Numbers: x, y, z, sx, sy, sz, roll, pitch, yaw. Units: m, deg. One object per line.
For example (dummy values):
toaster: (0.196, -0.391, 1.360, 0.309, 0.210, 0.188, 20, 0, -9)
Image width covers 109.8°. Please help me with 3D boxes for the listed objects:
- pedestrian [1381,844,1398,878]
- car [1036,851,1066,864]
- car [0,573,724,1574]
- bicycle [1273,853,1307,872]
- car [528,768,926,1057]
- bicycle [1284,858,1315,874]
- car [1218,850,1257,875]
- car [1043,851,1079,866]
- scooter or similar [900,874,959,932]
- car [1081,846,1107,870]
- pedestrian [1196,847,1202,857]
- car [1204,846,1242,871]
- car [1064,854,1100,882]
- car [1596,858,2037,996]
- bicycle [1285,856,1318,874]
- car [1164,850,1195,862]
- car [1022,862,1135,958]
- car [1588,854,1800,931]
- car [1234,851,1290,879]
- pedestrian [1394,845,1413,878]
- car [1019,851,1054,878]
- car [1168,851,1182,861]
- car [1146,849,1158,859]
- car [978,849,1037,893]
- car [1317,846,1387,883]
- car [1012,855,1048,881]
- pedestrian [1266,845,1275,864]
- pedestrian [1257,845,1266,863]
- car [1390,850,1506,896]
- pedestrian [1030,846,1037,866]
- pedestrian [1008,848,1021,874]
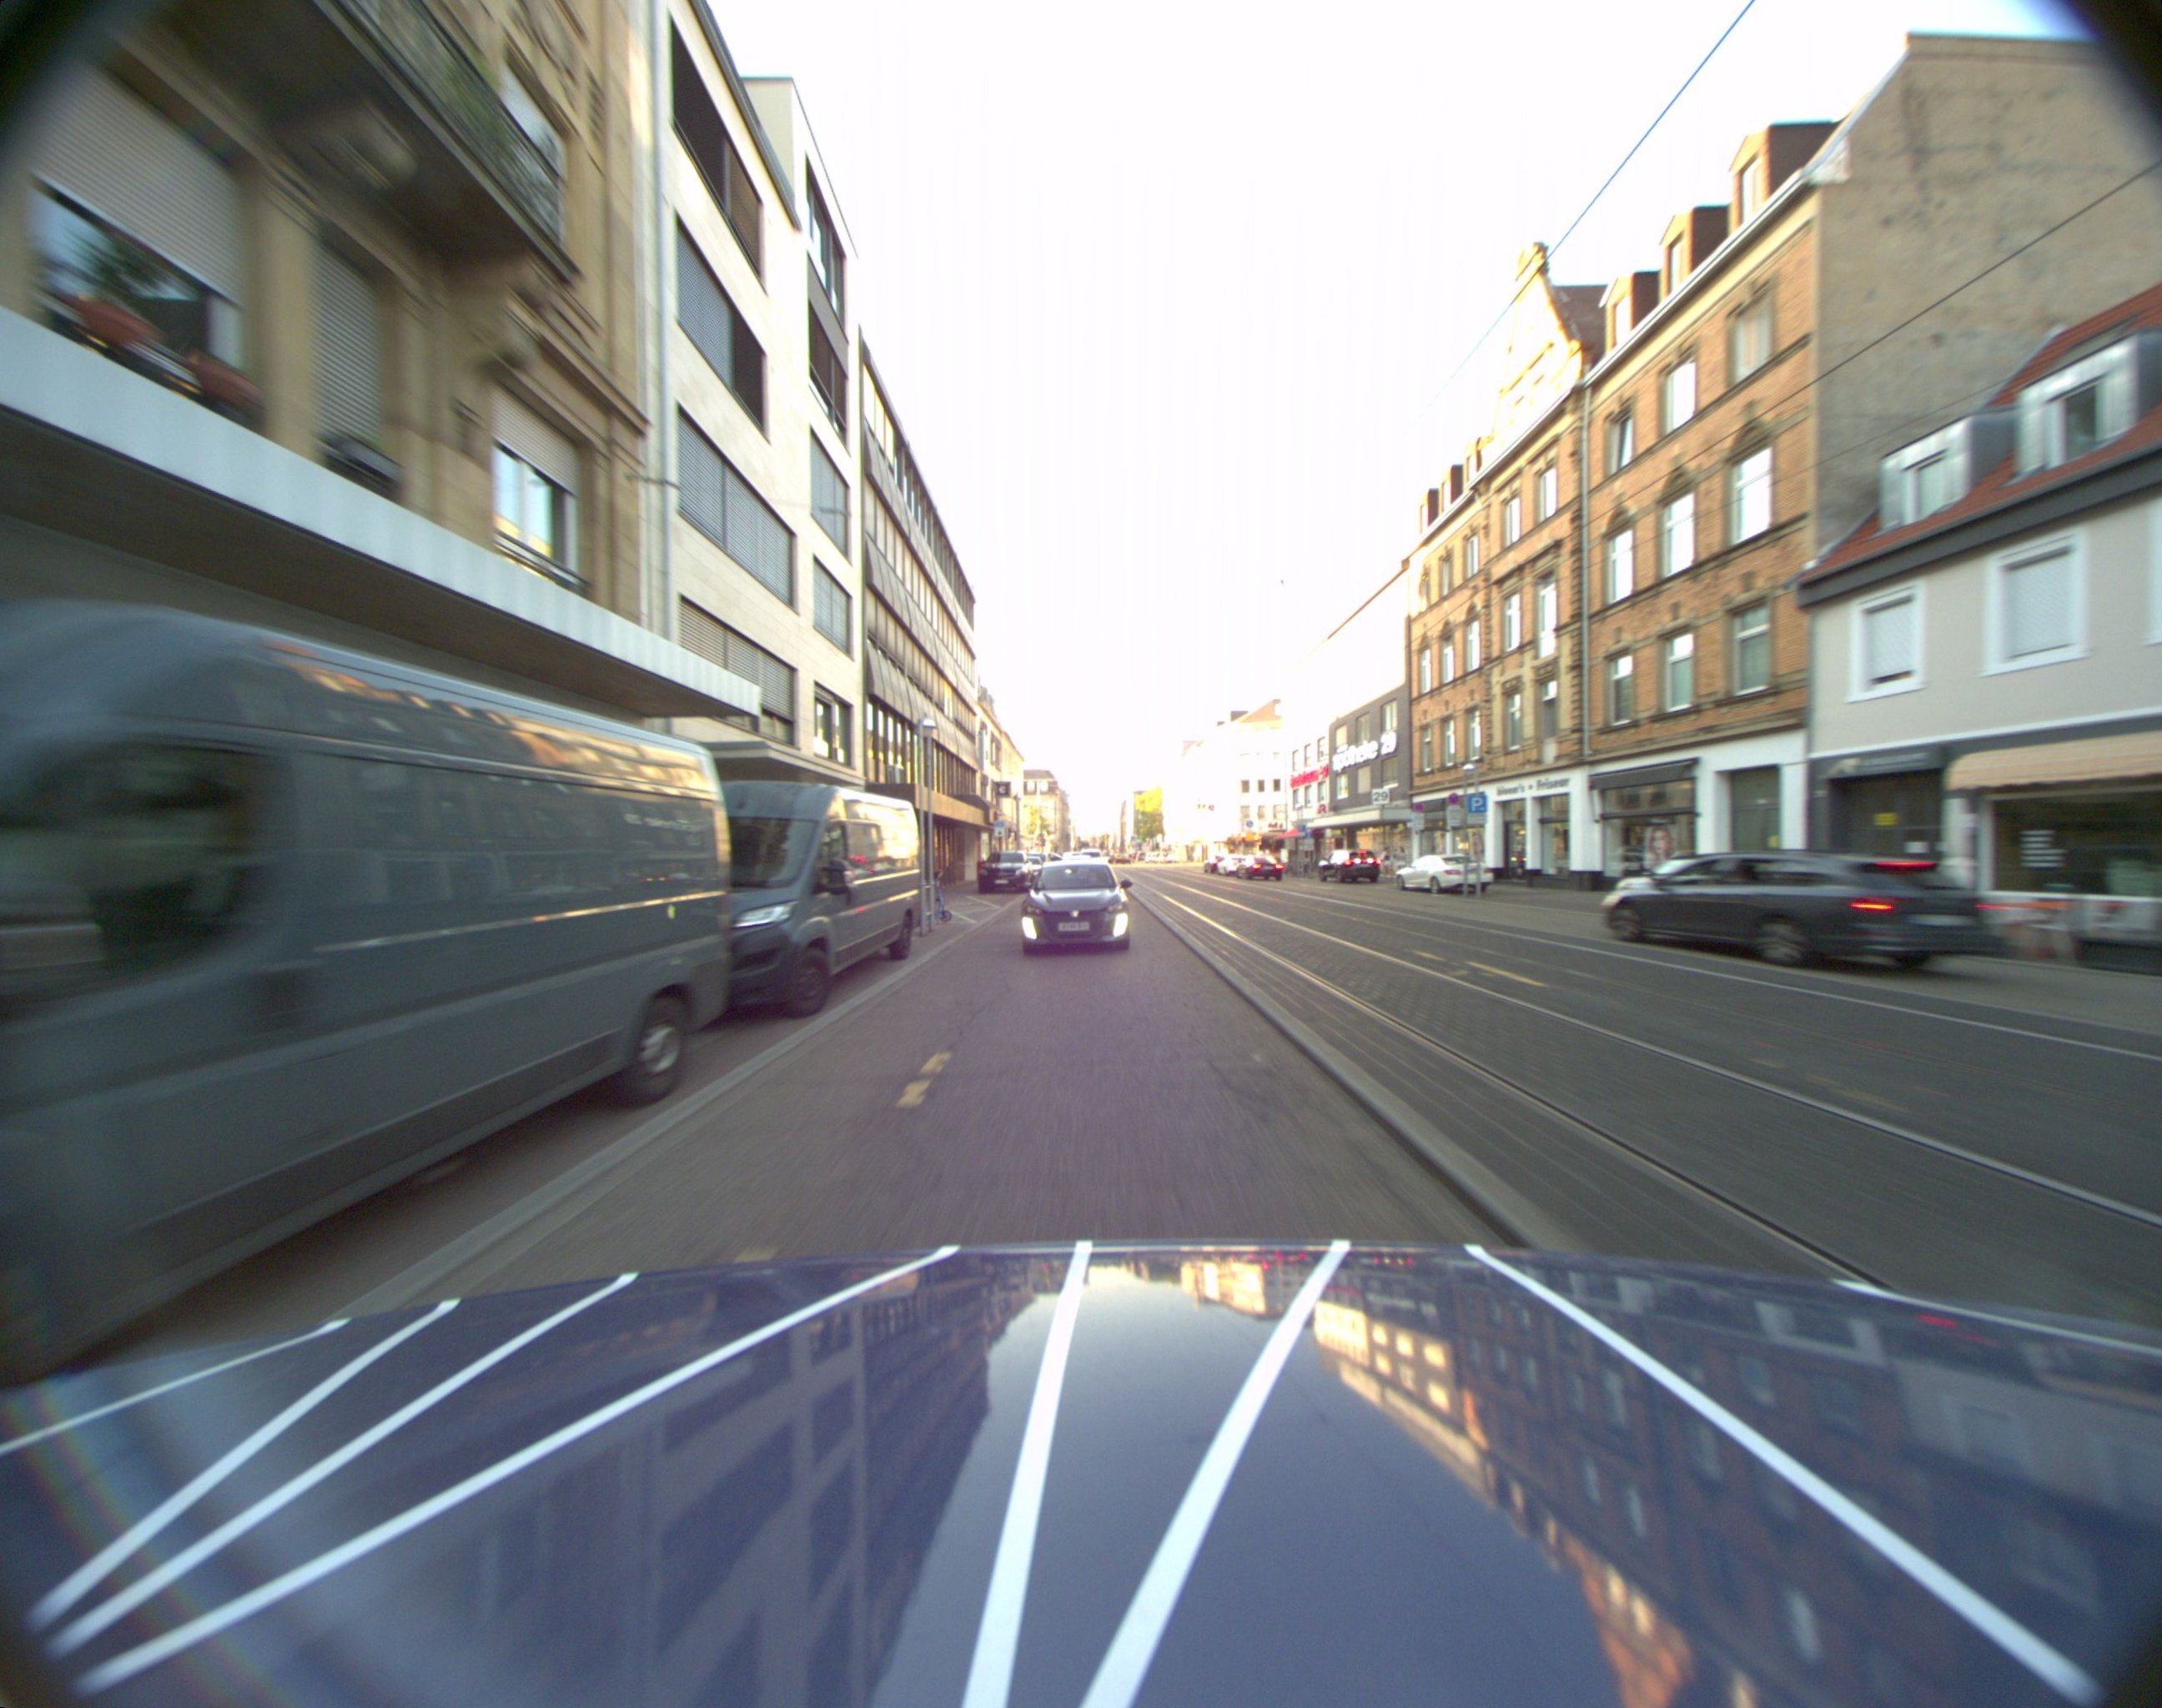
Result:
pedestrian: (15.576, 0.368, 38.382, 0.622, 1.689, 0.602, -1, 0, 0)
car: (-3.526, 0.426, 89.876, 3.299, 1.487, 1.540, -1, 1, 2)
car: (-3.659, 0.517, 2.957, 2.038, 2.441, 5.408, 1, 0, -1)
bicycle: (14.215, 0.587, 51.747, 2.117, 1.217, 0.553, -3, 1, 1)
car: (-3.621, 0.480, 9.472, 2.098, 2.441, 6.031, 0, 0, 0)
bicycle: (13.847, 0.740, 48.207, 1.809, 0.907, 0.456, -3, -1, 1)
car: (10.261, 0.524, 50.175, 1.997, 1.444, 4.657, 1, 1, 6)
car: (-2.110, 0.462, 80.538, 1.686, 1.463, 3.736, -1, 1, -44)
scooter or similar: (-3.393, 1.077, 17.109, 0.498, 1.213, 1.267, 0, 1, 38)
car: (1.055, 0.282, 58.457, 1.827, 1.787, 4.285, -1, 0, 3)
pedestrian: (17.147, -0.300, 110.522, 0.544, 1.463, 0.624, -4, 1, -15)
car: (10.424, 0.319, 56.171, 1.998, 1.717, 4.727, 1, 1, 2)
car: (0.110, 0.735, 42.085, 1.827, 1.463, 3.985, -1, 0, 2)
car: (9.496, 0.804, 10.472, 1.696, 1.444, 4.464, 0, 0, -1)
bicycle: (13.785, 0.695, 47.545, 1.835, 1.041, 0.489, -3, -1, 1)
car: (11.855, 0.243, 91.404, 3.490, 1.326, 1.597, 0, 1, -8)
car: (-0.123, 0.911, 14.066, 1.751, 1.434, 3.905, -2, 0, -3)
car: (13.175, 0.745, 16.668, 1.602, 1.431, 3.812, -2, 0, 1)
car: (10.151, 0.582, 42.931, 1.999, 1.444, 4.648, 0, 0, 0)
pedestrian: (16.232, 0.373, 38.227, 0.684, 1.651, 0.624, -1, 0, 0)
car: (-2.934, 0.659, 50.887, 1.998, 1.717, 4.576, 1, 1, 1)
car: (13.692, 0.295, 111.137, 1.636, 1.246, 3.389, -3, 0, 1)
car: (10.367, 0.027, 111.122, 1.718, 1.463, 3.986, 0, 0, 4)
car: (-3.042, 0.671, 32.262, 1.998, 1.717, 4.565, 0, 1, 1)
car: (13.348, 0.463, 37.719, 1.935, 1.665, 4.647, -2, 0, 3)
car: (-2.947, 0.790, 44.754, 1.800, 1.424, 3.887, 0, 0, 1)
pedestrian: (17.795, 0.011, 71.454, 0.638, 1.768, 0.600, -1, 1, -2)
pedestrian: (16.967, 0.009, 71.308, 0.638, 1.734, 0.668, -1, 1, -3)
car: (13.450, 0.639, 28.213, 1.874, 1.444, 4.608, -2, 1, -3)
pedestrian: (-4.674, 0.181, 74.291, 0.663, 1.917, 0.879, 0, 1, -1)
pedestrian: (-4.624, 0.464, 52.698, 0.768, 1.795, 0.928, 1, 1, 2)
